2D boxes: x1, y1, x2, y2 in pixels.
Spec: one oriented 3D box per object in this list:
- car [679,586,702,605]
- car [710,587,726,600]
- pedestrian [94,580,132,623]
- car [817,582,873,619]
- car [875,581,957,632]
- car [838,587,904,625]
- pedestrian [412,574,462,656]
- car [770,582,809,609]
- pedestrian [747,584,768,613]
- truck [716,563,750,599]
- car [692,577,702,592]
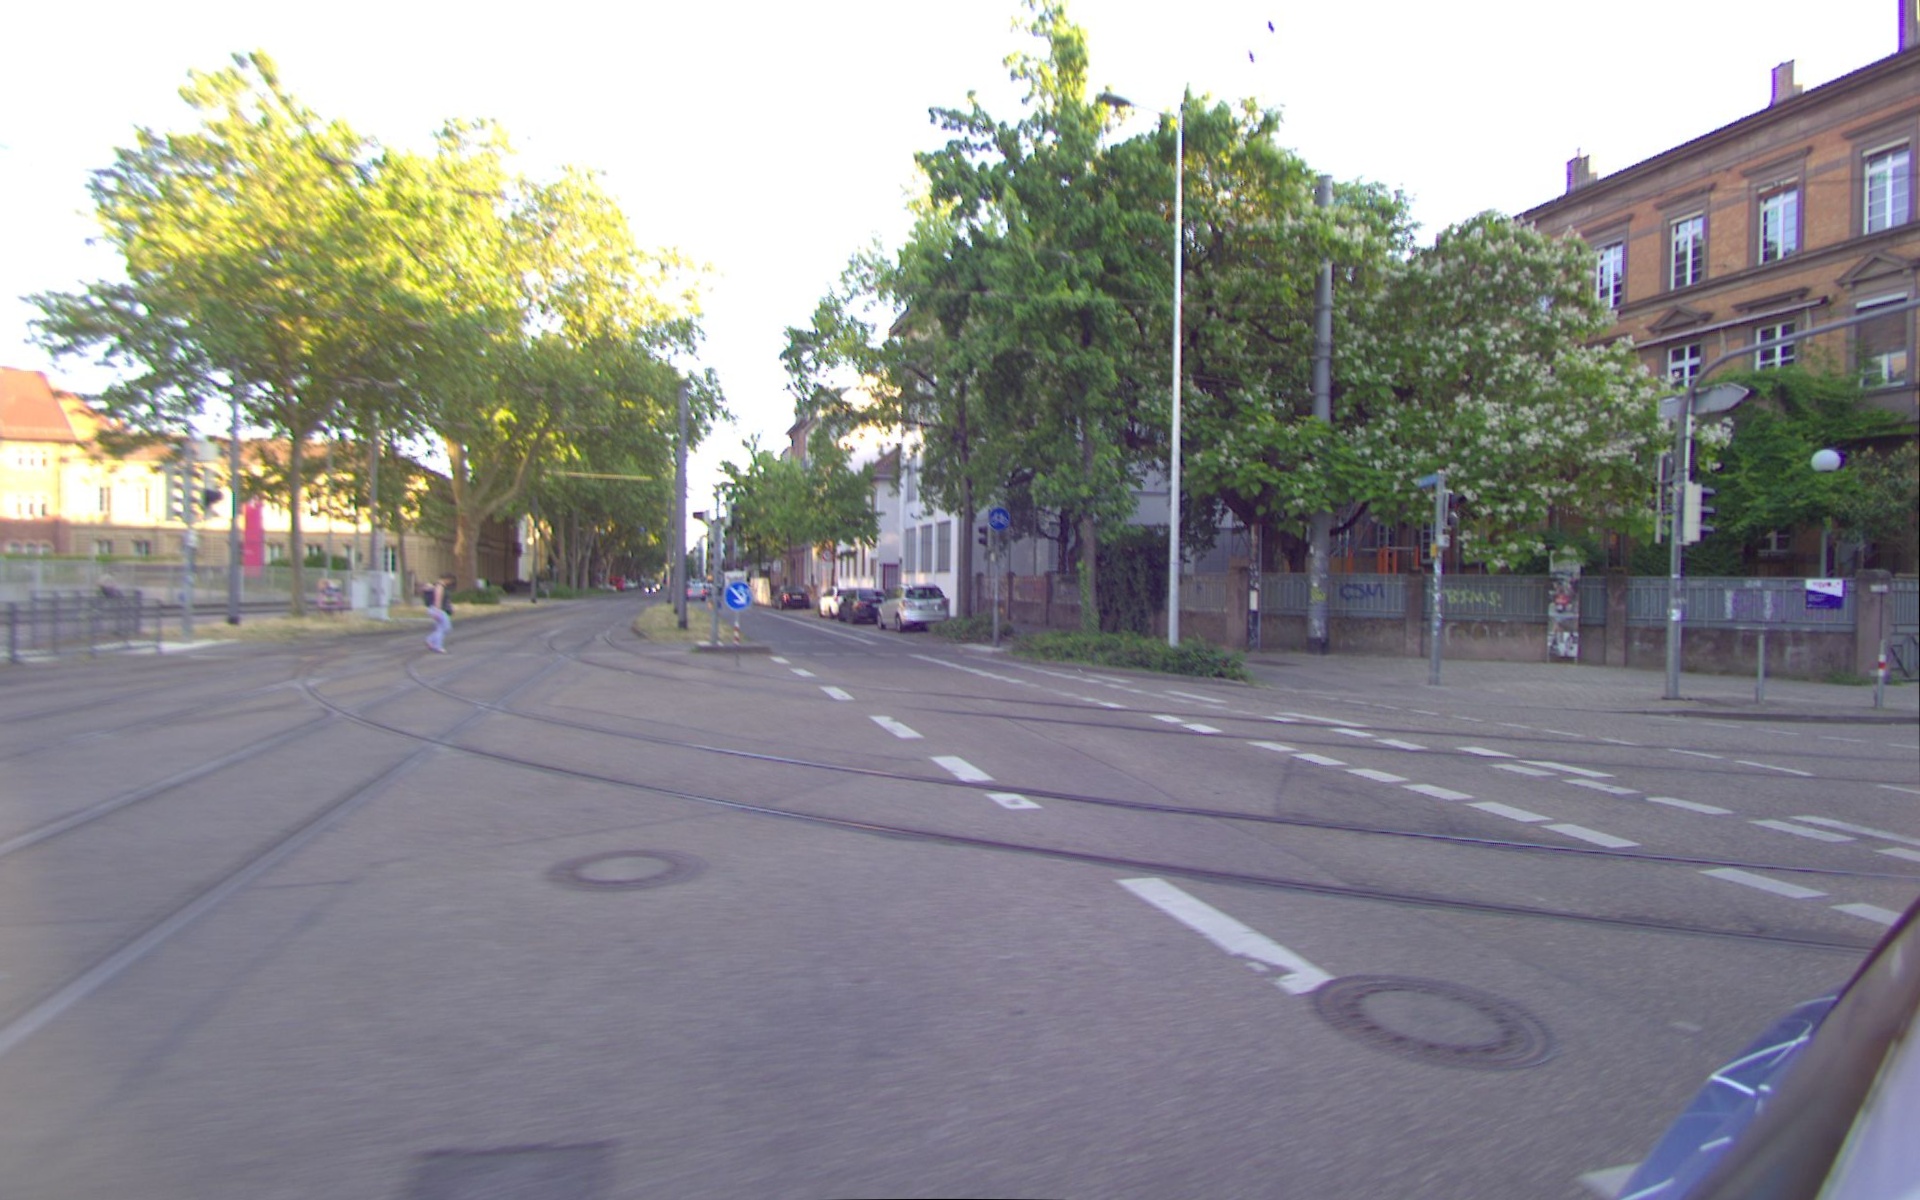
[{"bbox_3d":[-24.093,-0.398,90.399,1.958,1.666,4.008,0,1,-15],"label":"car"},{"bbox_3d":[-32.569,-0.876,136.248,1.958,1.666,4.008,0,1,-15],"label":"car"},{"bbox_3d":[-33.844,0.043,40.446,1.054,1.699,0.875,1,0,32],"label":"pedestrian"},{"bbox_3d":[-5.288,-0.004,46.229,1.875,1.571,4.009,-2,1,-16],"label":"car"},{"bbox_3d":[-1.569,0.184,34.337,1.875,1.571,4.009,-2,1,-16],"label":"car"},{"bbox_3d":[-3.633,0.211,40.595,1.875,1.382,4.009,-2,1,-16],"label":"car"},{"bbox_3d":[-10.604,0.294,20.547,0.812,1.636,0.757,0,0,-20],"label":"pedestrian"},{"bbox_3d":[-10.508,-0.305,62.151,1.875,1.571,4.009,-2,1,-16],"label":"car"},{"bbox_3d":[-14.227,-0.120,71.176,1.143,2.039,0.888,0,0,20],"label":"pedestrian"},{"bbox_3d":[-23.292,-1.940,104.085,3.138,3.499,8.881,0,1,-11],"label":"truck"},{"bbox_3d":[-58.514,-3.461,224.913,1.958,3.232,5.275,0,1,-15],"label":"car"}]
